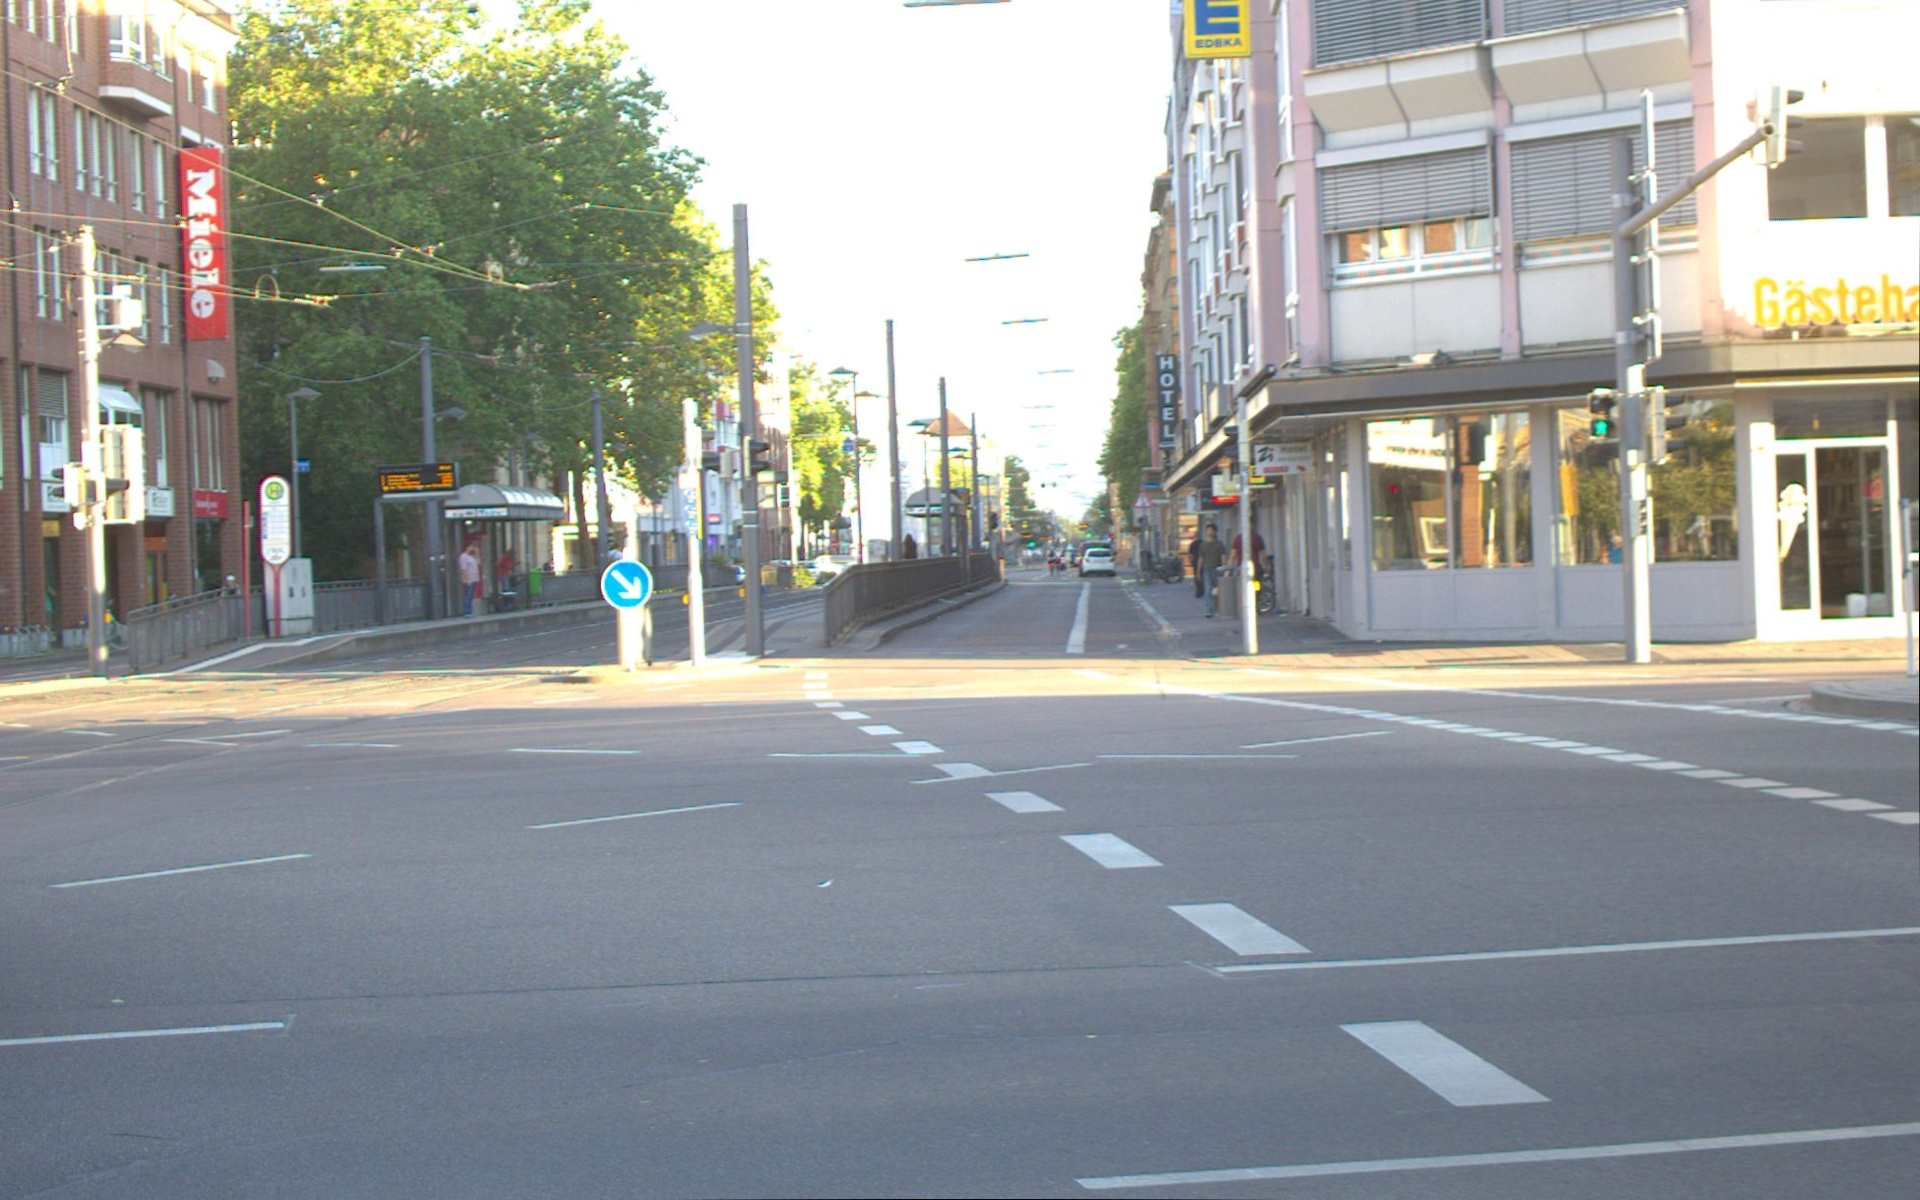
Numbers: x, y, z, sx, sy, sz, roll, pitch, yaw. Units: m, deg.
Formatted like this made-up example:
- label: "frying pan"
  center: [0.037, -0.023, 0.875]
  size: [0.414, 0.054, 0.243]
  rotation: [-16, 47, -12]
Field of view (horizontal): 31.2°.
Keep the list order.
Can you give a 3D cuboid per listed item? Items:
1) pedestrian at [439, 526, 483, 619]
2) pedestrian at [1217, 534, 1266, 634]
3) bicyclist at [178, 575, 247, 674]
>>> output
- label: "pedestrian"
  center: [-10.979, -0.601, 75.617]
  size: [0.808, 2.007, 0.678]
  rotation: [-2, 1, -1]
- label: "pedestrian"
  center: [4.503, -0.260, 55.080]
  size: [0.705, 1.543, 0.907]
  rotation: [-1, 4, 0]
- label: "bicyclist"
  center: [-19.194, 0.610, 88.302]
  size: [1.290, 2.460, 1.668]
  rotation: [-2, 1, 1]
